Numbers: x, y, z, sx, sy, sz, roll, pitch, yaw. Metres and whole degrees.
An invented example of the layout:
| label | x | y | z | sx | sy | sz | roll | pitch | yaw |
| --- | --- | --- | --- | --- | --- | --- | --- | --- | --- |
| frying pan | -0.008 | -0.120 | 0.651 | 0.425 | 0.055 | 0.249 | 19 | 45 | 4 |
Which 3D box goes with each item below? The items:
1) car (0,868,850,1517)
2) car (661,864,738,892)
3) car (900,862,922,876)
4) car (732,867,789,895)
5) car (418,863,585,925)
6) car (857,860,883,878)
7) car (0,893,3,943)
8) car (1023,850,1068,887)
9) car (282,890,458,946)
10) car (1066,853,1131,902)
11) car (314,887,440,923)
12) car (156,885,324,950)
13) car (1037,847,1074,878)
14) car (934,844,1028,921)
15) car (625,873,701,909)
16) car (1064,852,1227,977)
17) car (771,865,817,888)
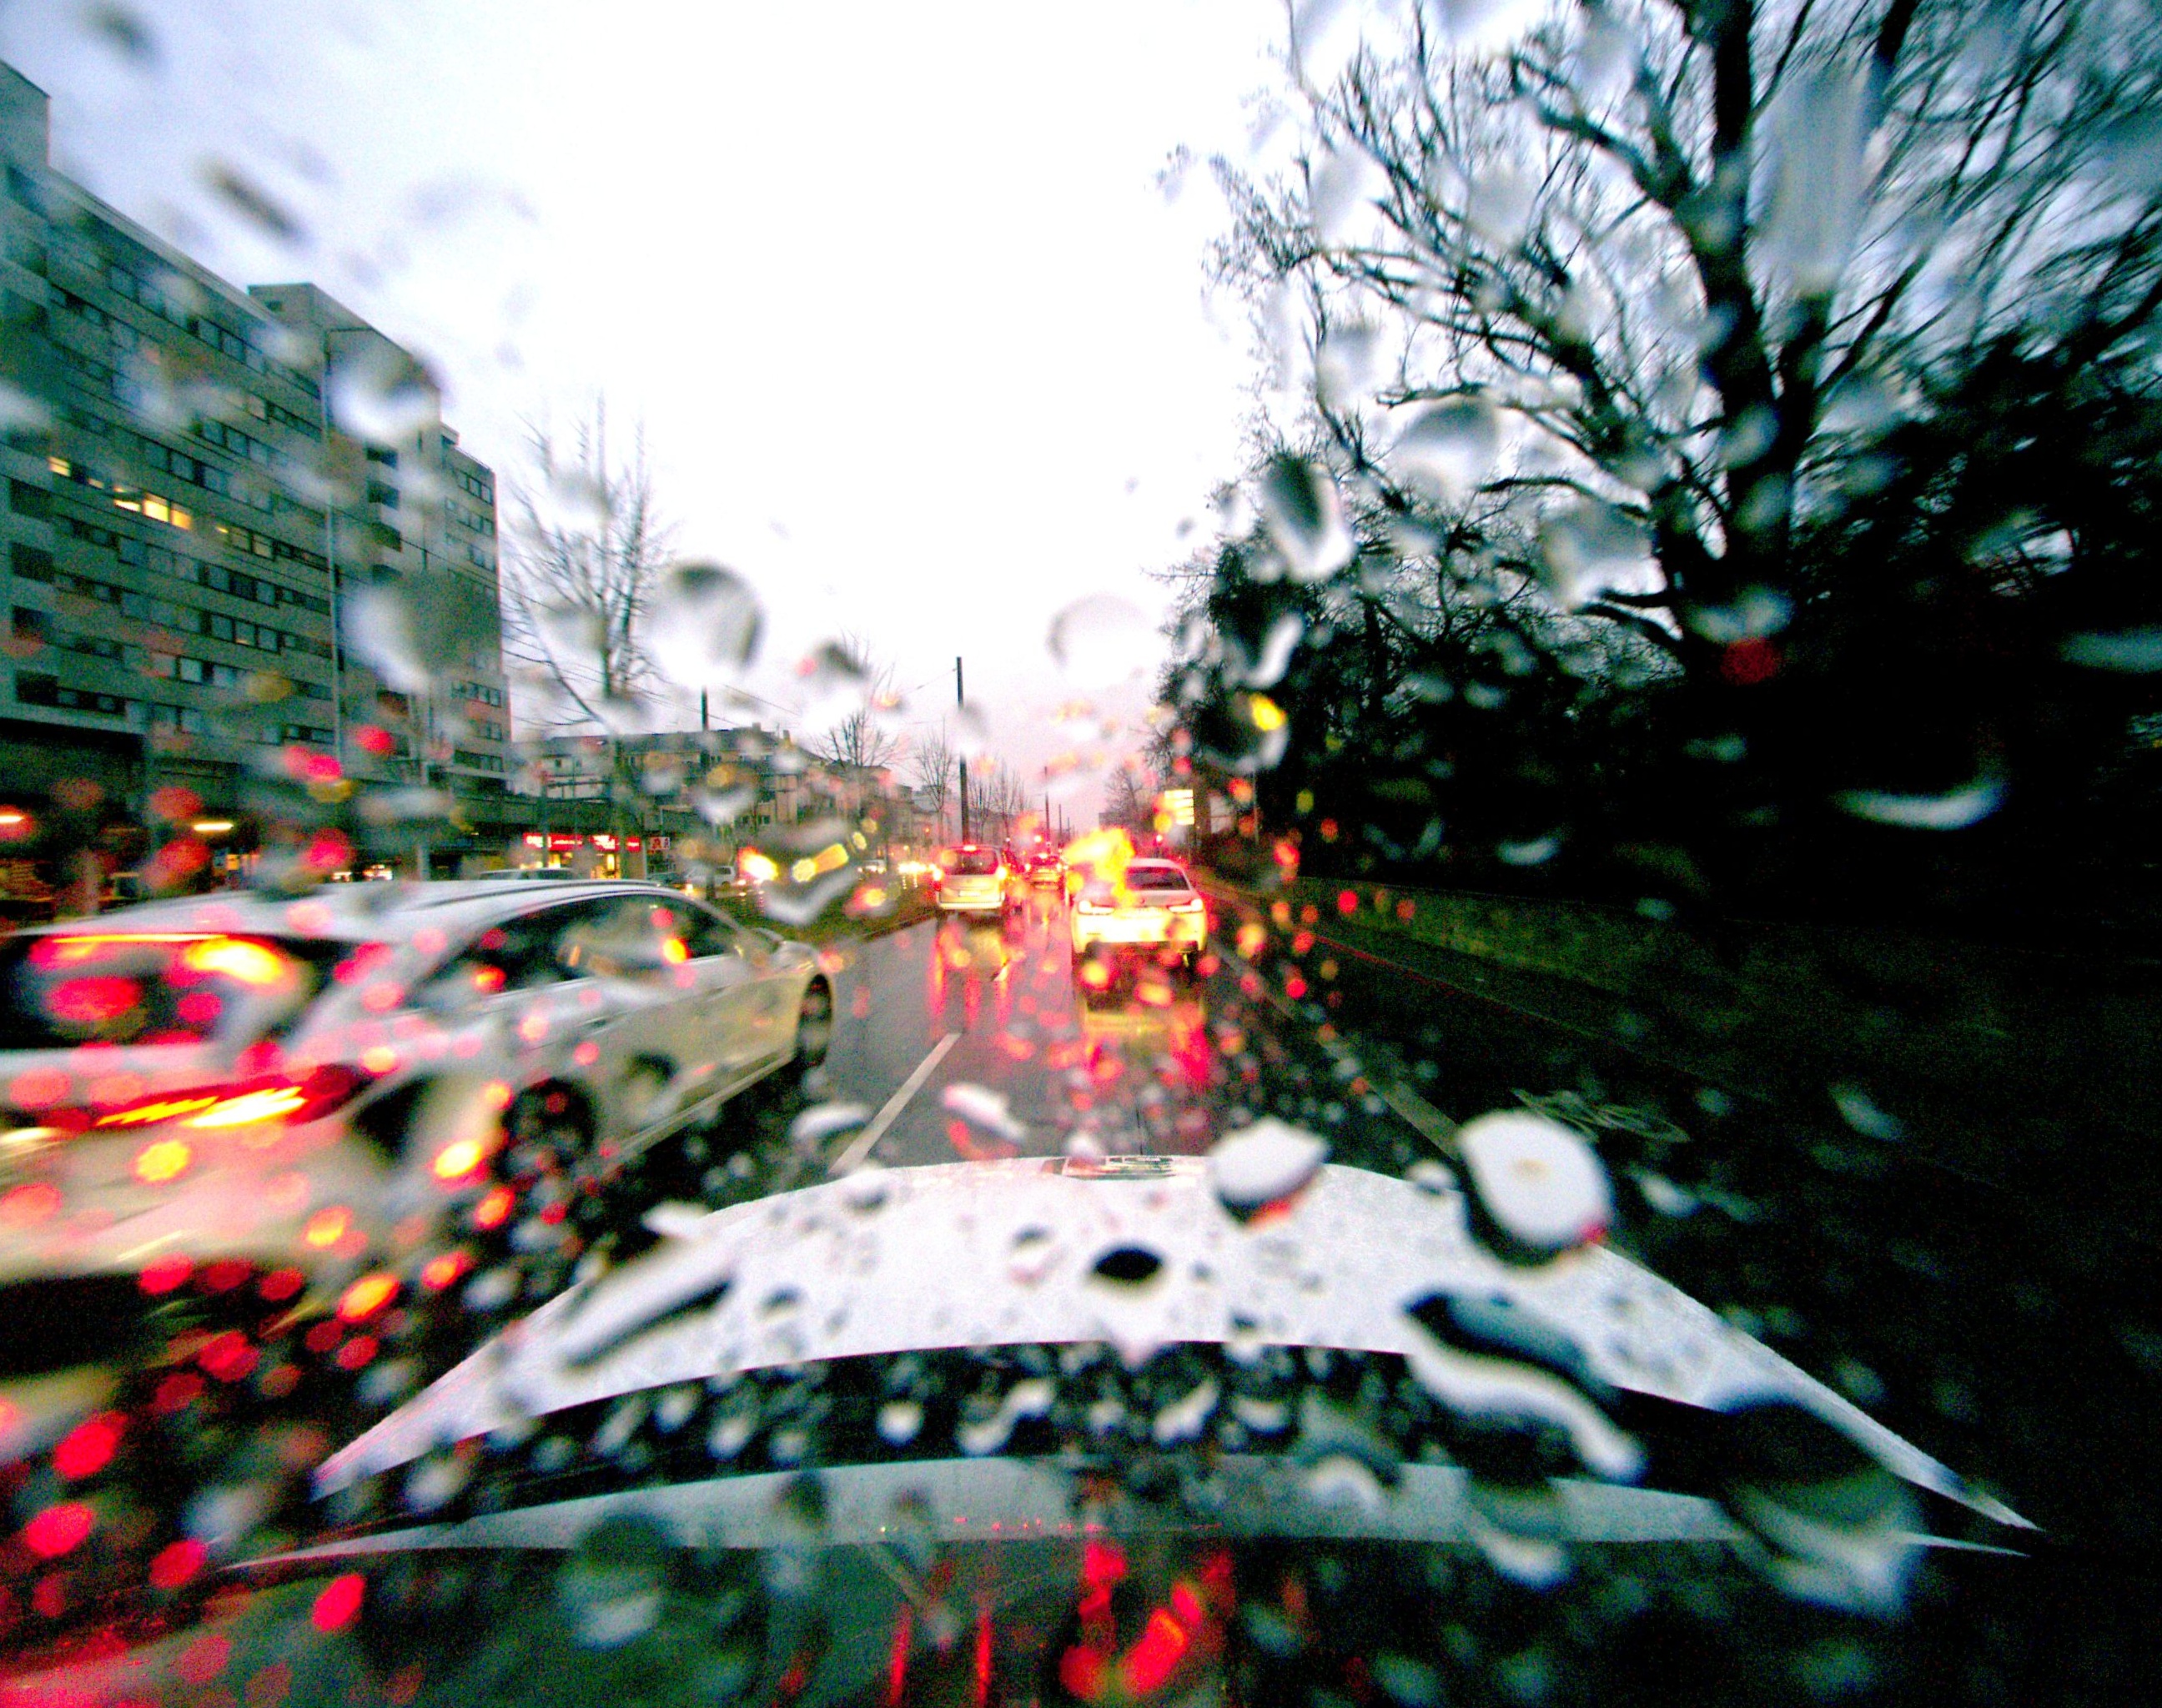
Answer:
| label | x | y | z | sx | sy | sz | roll | pitch | yaw |
| --- | --- | --- | --- | --- | --- | --- | --- | --- | --- |
| car | -2.837 | 0.817 | 4.165 | 1.839 | 1.405 | 4.616 | -1 | 0 | 2 |
| car | -30.362 | 1.895 | 64.916 | 5.193 | 1.912 | 1.975 | -3 | 0 | -44 |
| car | -21.164 | 1.841 | 101.554 | 1.890 | 1.634 | 4.578 | -2 | 0 | -1 |
| car | -22.572 | 1.884 | 57.532 | 1.888 | 1.719 | 4.919 | -2 | 0 | 2 |
| car | -19.081 | 1.235 | 27.179 | 1.890 | 1.719 | 5.116 | -2 | 0 | -1 |
| car | -24.232 | 1.702 | 93.638 | 1.990 | 1.912 | 5.155 | -3 | 0 | -5 |
| car | -38.881 | 2.266 | 26.787 | 4.347 | 1.695 | 1.727 | -2 | 0 | -2 |
| car | -1.600 | 0.640 | 38.198 | 1.800 | 1.646 | 4.002 | -1 | 0 | 2 |
| car | -24.951 | 2.190 | 28.870 | 1.889 | 1.516 | 4.794 | -2 | 0 | 2 |
| car | 0.601 | 0.710 | 26.919 | 1.928 | 1.457 | 4.165 | -1 | 0 | 2 |
| car | -31.211 | 2.234 | 36.282 | 4.015 | 1.387 | 1.916 | 1 | -1 | -34 |
| car | -29.104 | 2.121 | 28.322 | 1.706 | 1.885 | 3.949 | -2 | 0 | 44 |
| car | -1.458 | 0.515 | 48.738 | 1.986 | 1.755 | 4.001 | -1 | 0 | 1 |
| car | -2.438 | 0.673 | 20.895 | 1.787 | 1.736 | 4.537 | -1 | 0 | 0 |
| car | -24.211 | 2.087 | 47.366 | 1.889 | 1.813 | 4.531 | -2 | 0 | 2 |
| car | 0.868 | 0.752 | 12.230 | 1.992 | 1.508 | 4.165 | -1 | 0 | 2 |
| car | -24.003 | 1.891 | 68.296 | 1.888 | 1.719 | 4.919 | -2 | 0 | 2 |
